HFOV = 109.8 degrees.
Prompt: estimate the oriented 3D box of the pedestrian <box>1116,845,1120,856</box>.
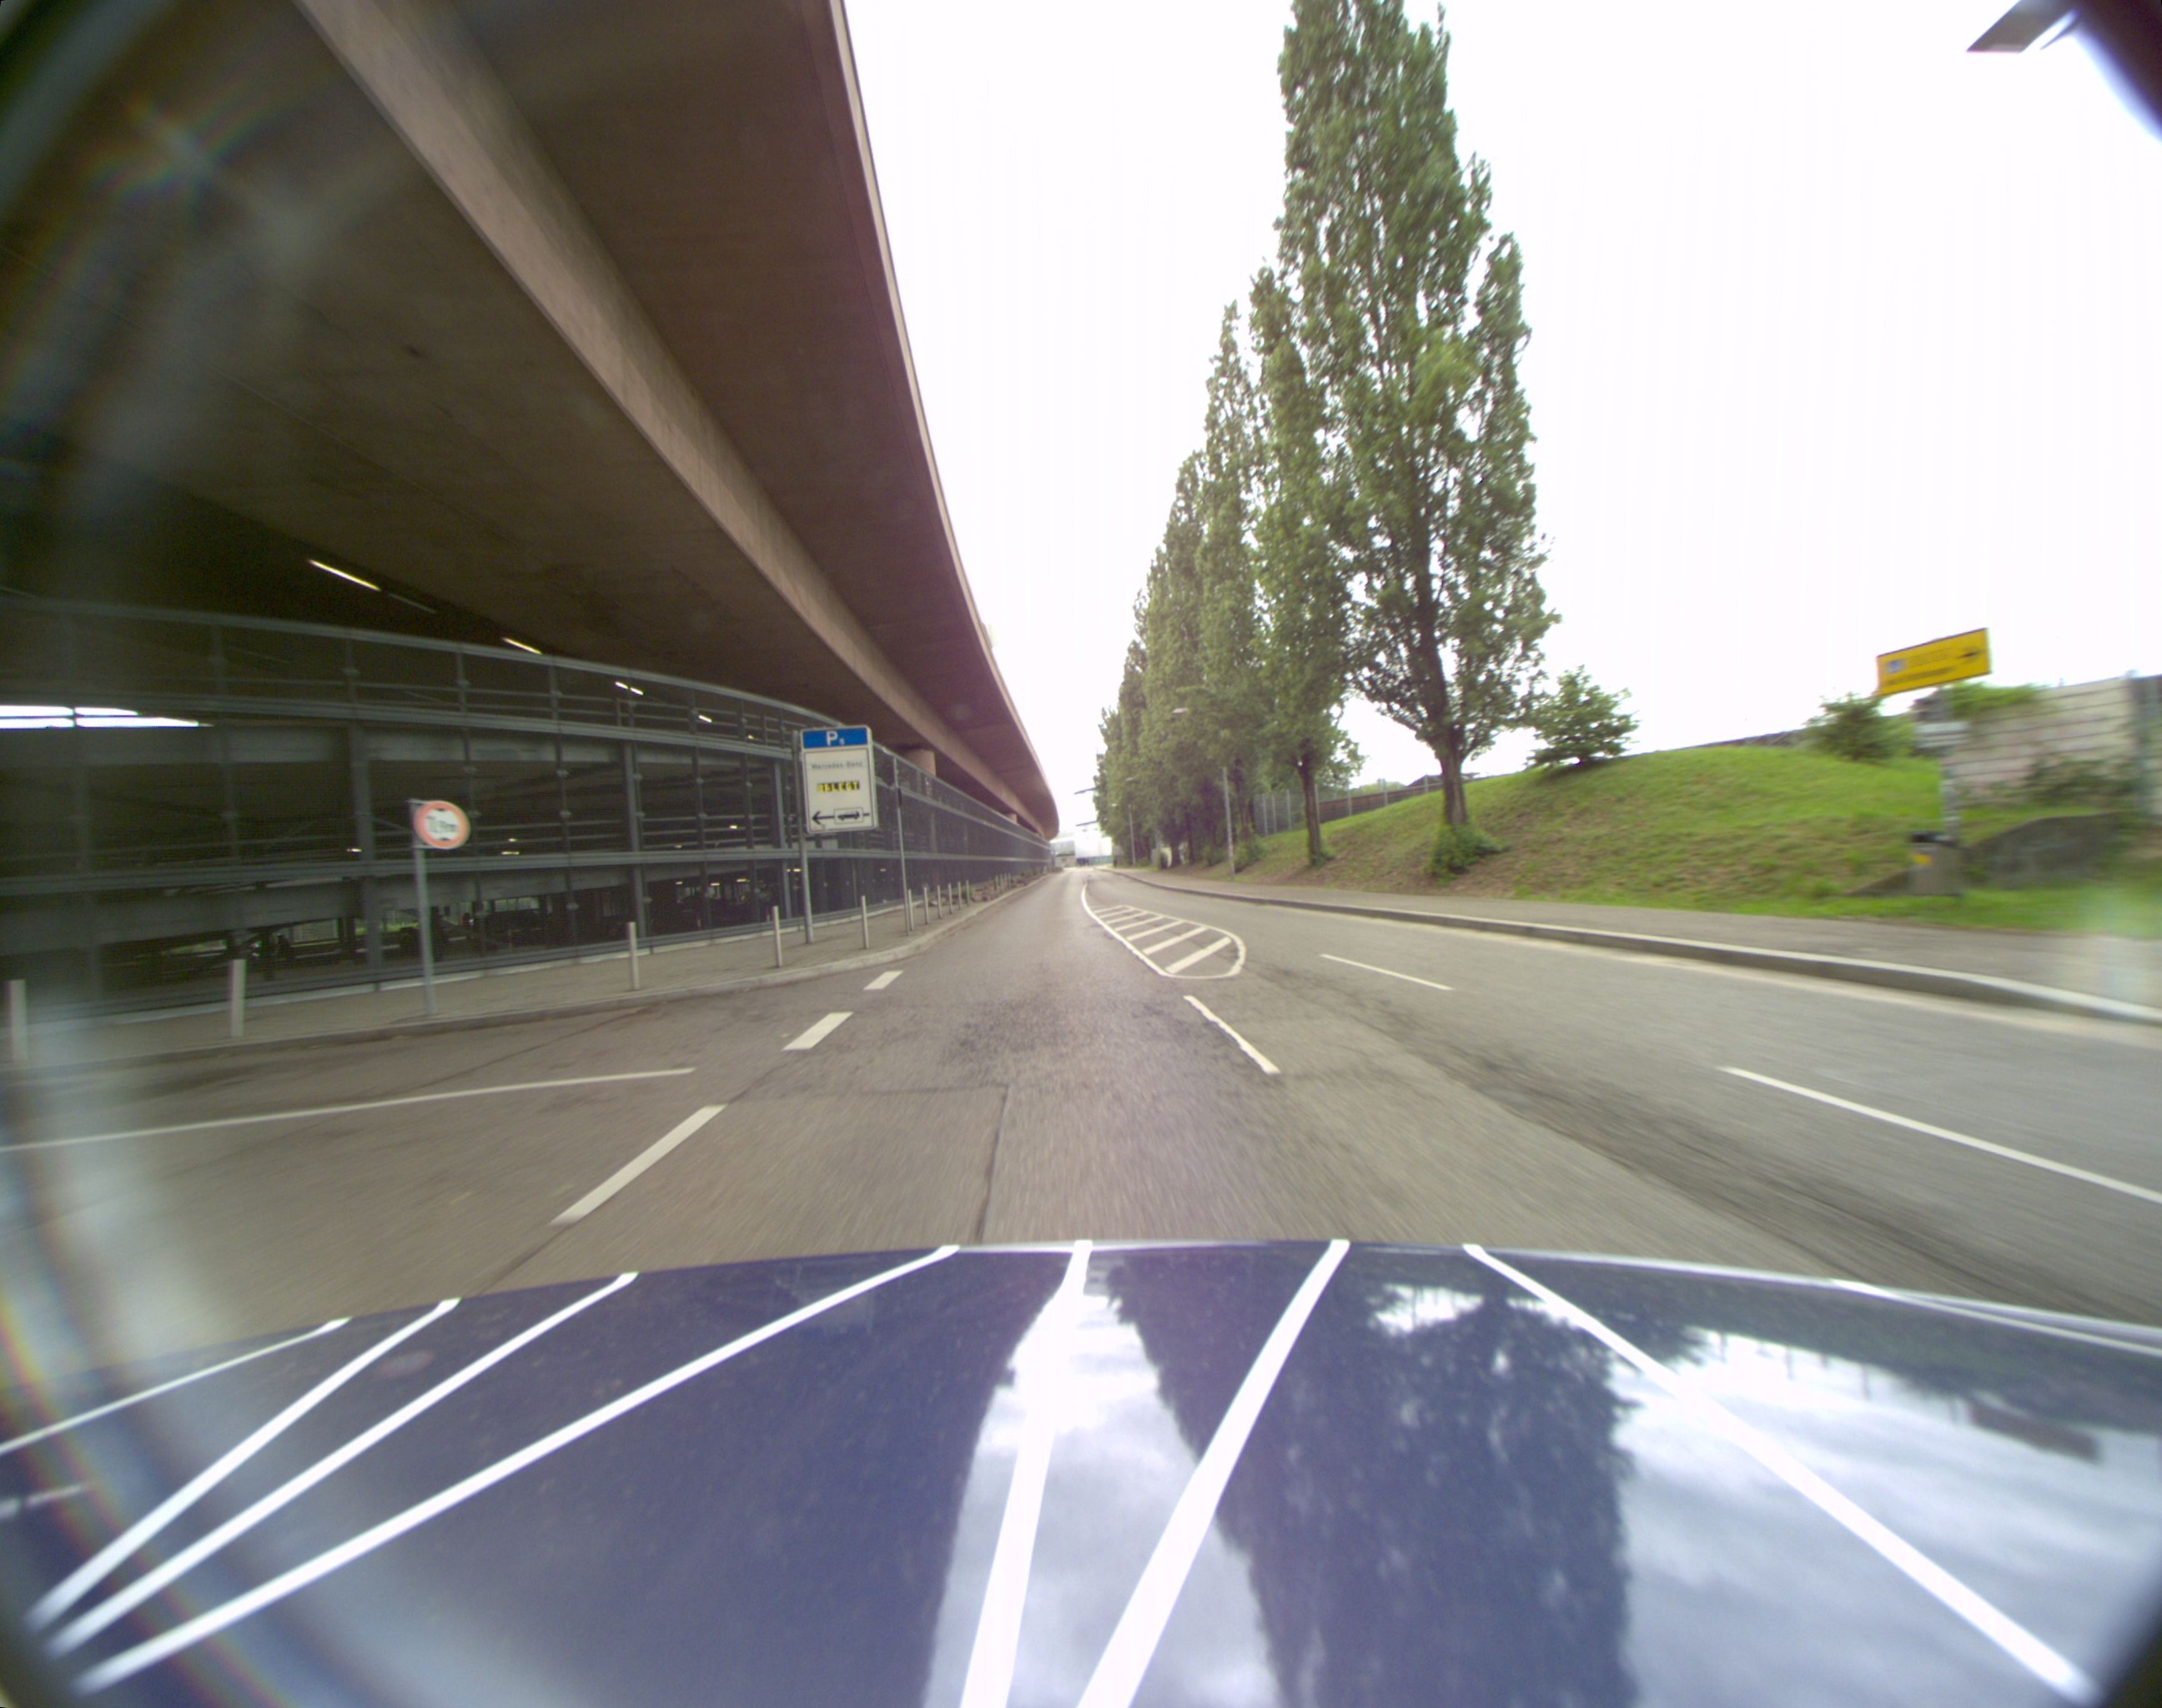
[{"bbox_3d":[6.473,-0.606,132.873,0.662,1.882,0.737,-2,1,1],"label":"pedestrian"}]
